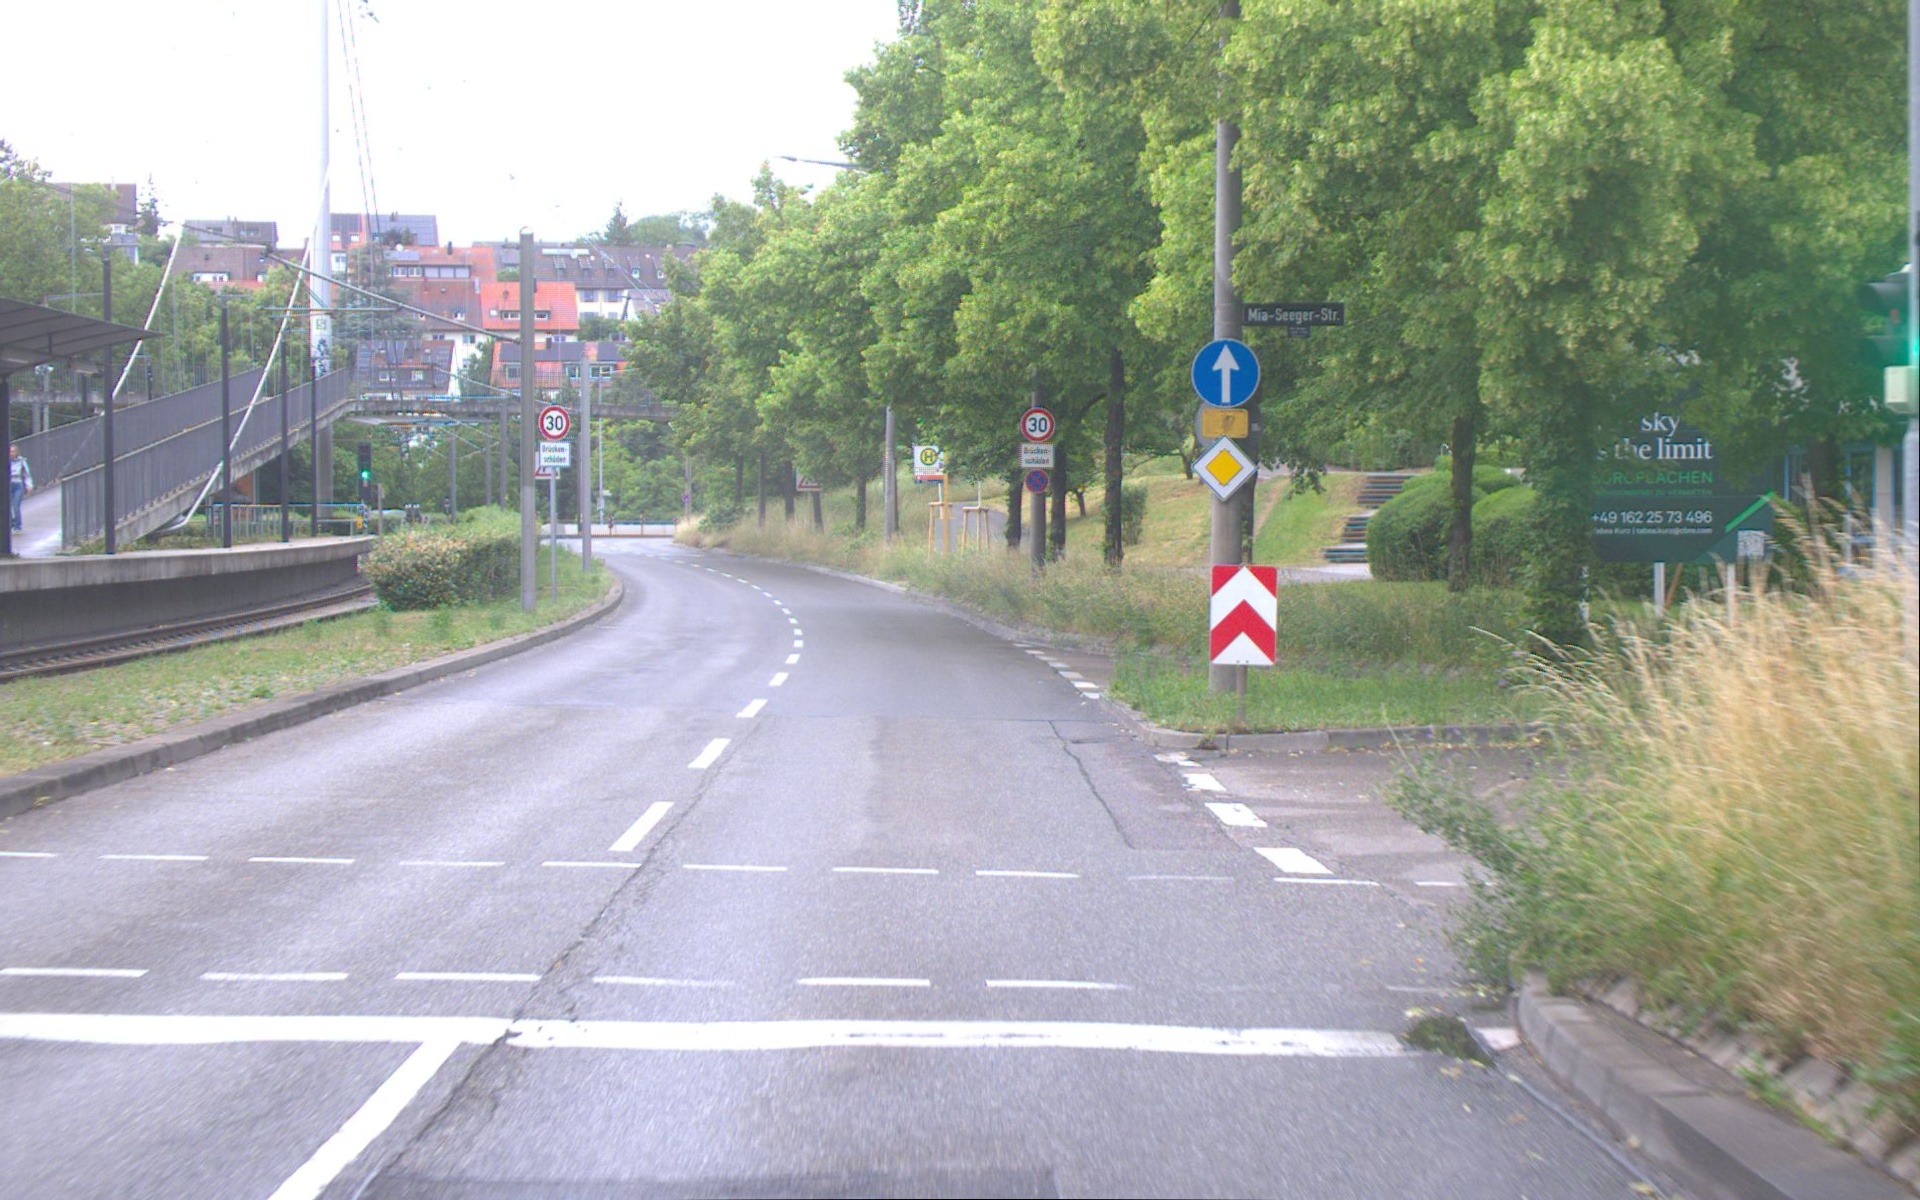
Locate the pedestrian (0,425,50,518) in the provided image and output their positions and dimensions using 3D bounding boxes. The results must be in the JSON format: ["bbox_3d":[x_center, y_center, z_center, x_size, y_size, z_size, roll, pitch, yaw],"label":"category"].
[{"bbox_3d":[-16.552,-2.248,60.379,0.935,1.605,1.027,1,1,-5],"label":"pedestrian"}]
